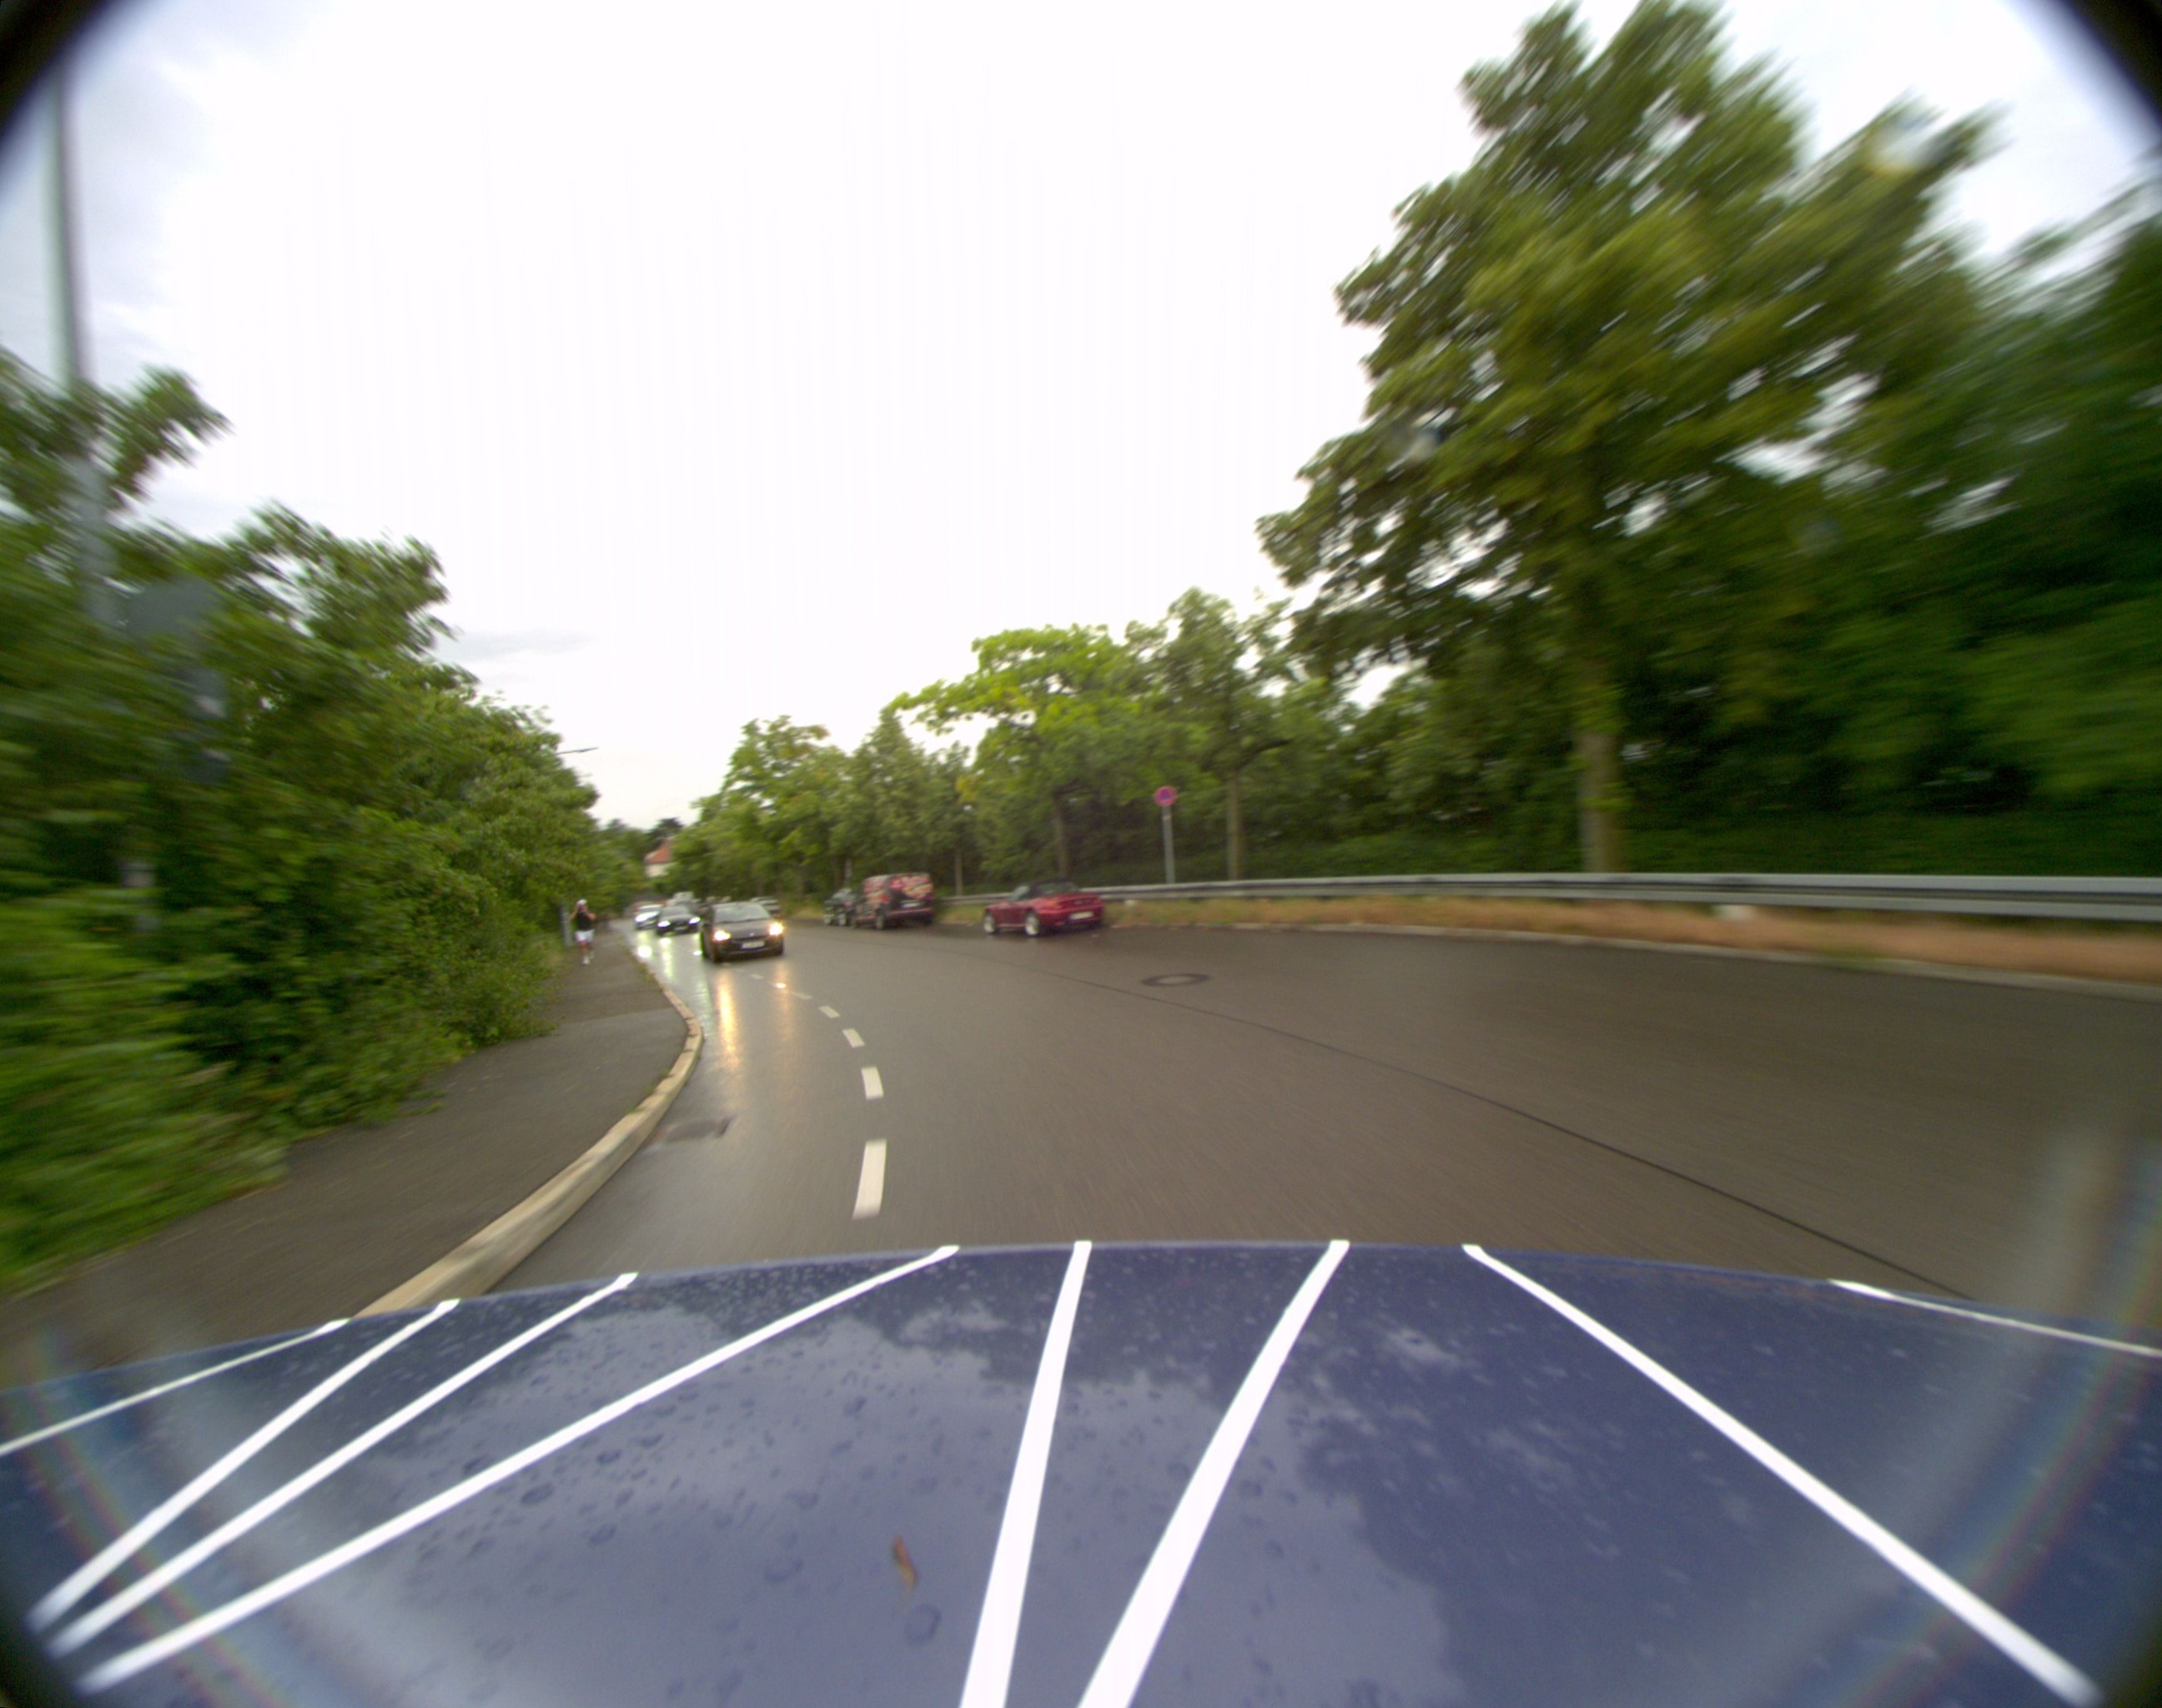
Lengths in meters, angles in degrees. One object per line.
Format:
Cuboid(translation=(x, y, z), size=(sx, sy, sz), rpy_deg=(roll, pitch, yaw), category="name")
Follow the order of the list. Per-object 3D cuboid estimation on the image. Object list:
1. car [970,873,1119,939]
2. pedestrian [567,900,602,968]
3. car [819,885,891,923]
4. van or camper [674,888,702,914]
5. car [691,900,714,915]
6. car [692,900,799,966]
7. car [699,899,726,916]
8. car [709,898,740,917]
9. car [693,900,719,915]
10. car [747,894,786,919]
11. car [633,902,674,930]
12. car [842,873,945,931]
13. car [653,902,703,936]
Cuboid(translation=(-1.036, 1.235, 18.737), size=(1.797, 1.289, 4.317), rpy_deg=(-4, 0, -30), category="car")
Cuboid(translation=(-14.140, 2.251, 21.660), size=(0.720, 1.823, 1.019), rpy_deg=(-3, -1, -31), category="pedestrian")
Cuboid(translation=(-9.968, 2.175, 33.300), size=(1.806, 1.429, 4.247), rpy_deg=(-4, 0, -33), category="car")
Cuboid(translation=(-50.322, 6.018, 97.195), size=(2.517, 3.009, 6.548), rpy_deg=(-4, -1, -32), category="van or camper")
Cuboid(translation=(-41.274, 5.830, 82.785), size=(2.003, 1.396, 4.706), rpy_deg=(-3, -2, -28), category="car")
Cuboid(translation=(-9.092, 2.015, 20.357), size=(1.808, 1.418, 4.373), rpy_deg=(-4, -1, -34), category="car")
Cuboid(translation=(-35.988, 5.196, 74.158), size=(2.003, 1.396, 4.704), rpy_deg=(-3, -1, -30), category="car")
Cuboid(translation=(-30.891, 4.627, 65.773), size=(1.763, 1.394, 4.410), rpy_deg=(-4, 0, -32), category="car")
Cuboid(translation=(-38.685, 5.480, 78.309), size=(2.003, 1.396, 4.704), rpy_deg=(-3, -1, -30), category="car")
Cuboid(translation=(-20.613, 3.419, 49.720), size=(1.696, 1.429, 4.247), rpy_deg=(-4, 0, -30), category="car")
Cuboid(translation=(-29.244, 4.184, 52.089), size=(2.034, 1.619, 4.221), rpy_deg=(-5, -1, -26), category="car")
Cuboid(translation=(-7.120, 1.754, 28.355), size=(2.093, 1.808, 5.369), rpy_deg=(-4, 0, -32), category="car")
Cuboid(translation=(-21.426, 3.394, 40.355), size=(2.034, 1.454, 3.992), rpy_deg=(-6, 0, -30), category="car")
